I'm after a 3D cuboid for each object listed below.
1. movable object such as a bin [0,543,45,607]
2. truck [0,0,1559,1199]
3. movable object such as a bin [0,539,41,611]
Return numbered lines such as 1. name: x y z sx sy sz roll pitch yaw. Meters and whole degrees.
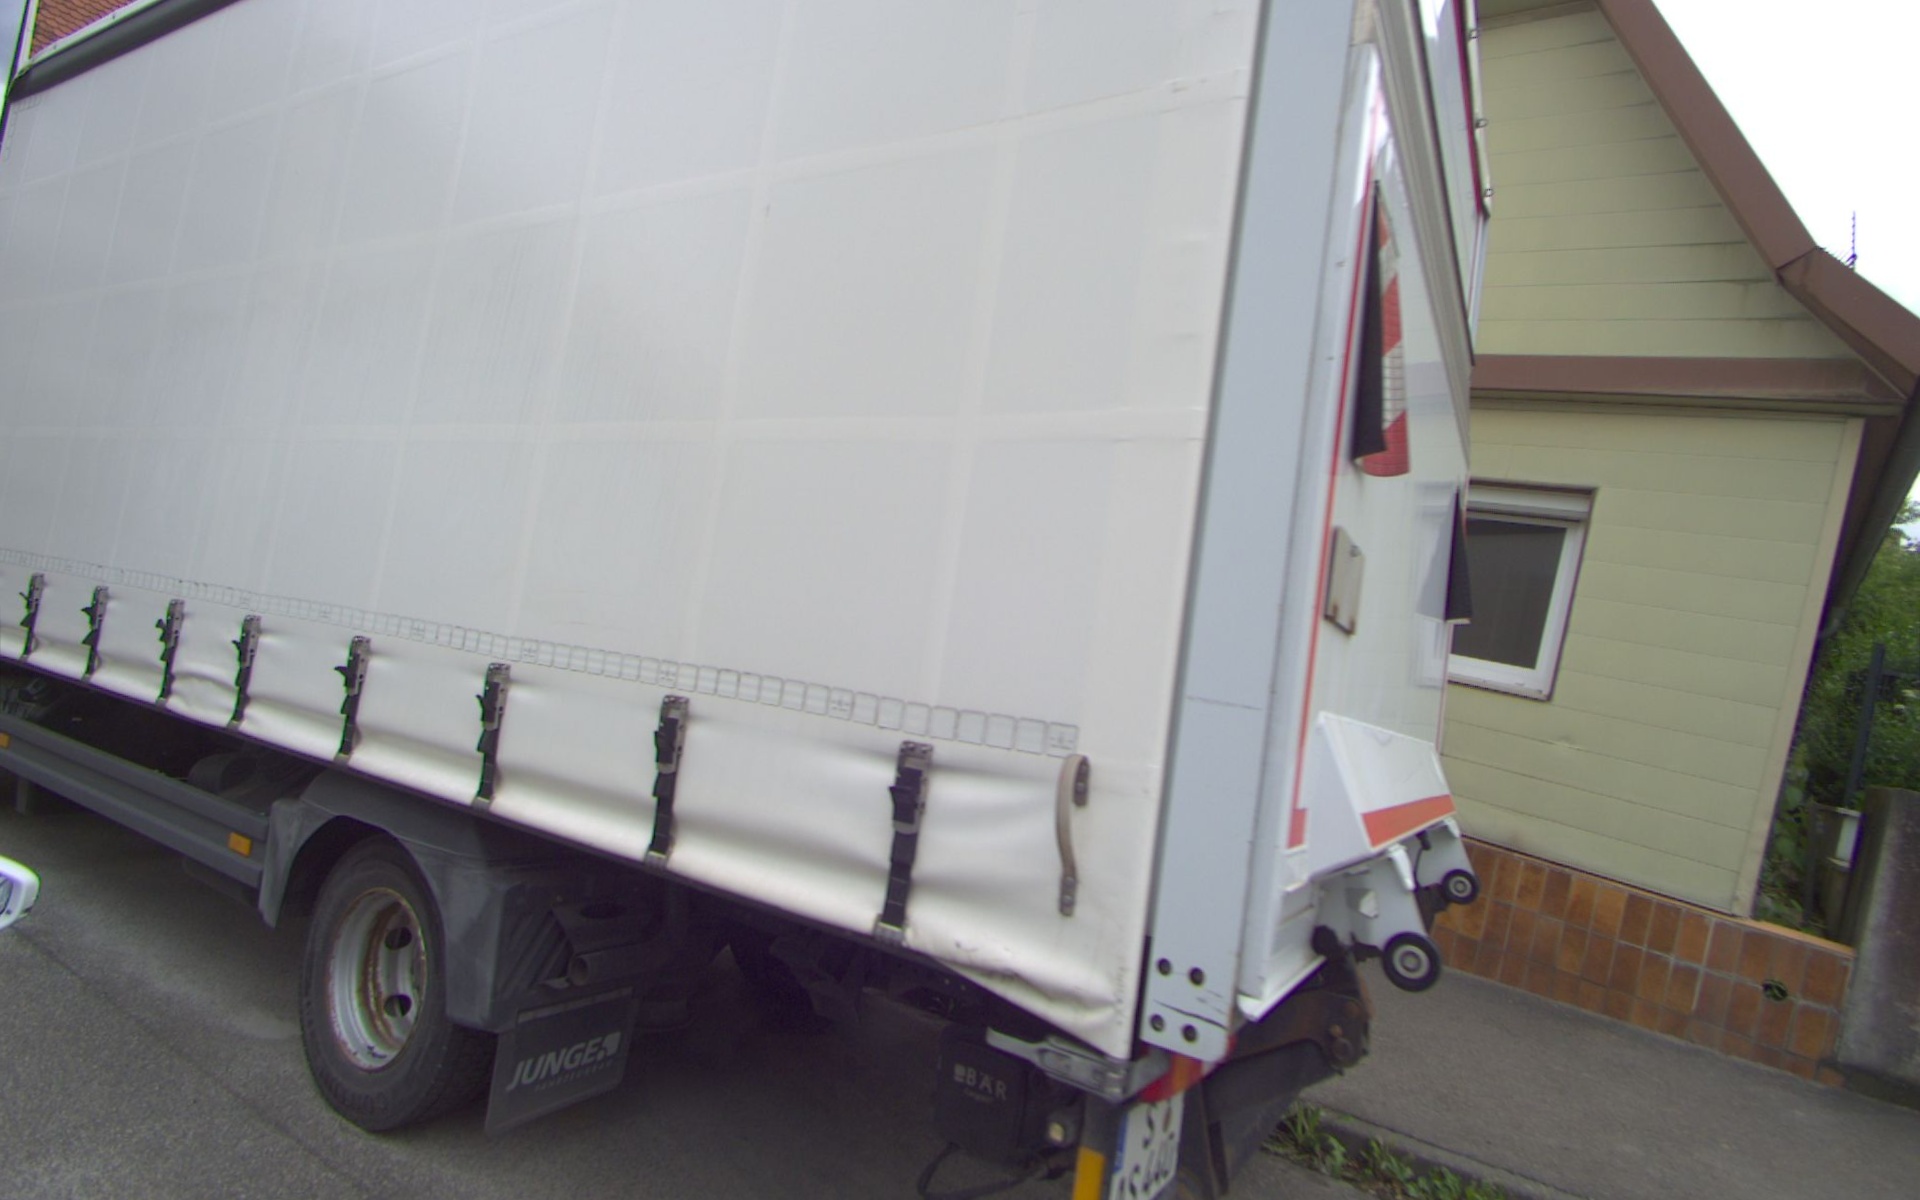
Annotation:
1. movable object such as a bin: -14.141 -0.373 15.013 0.445 0.875 0.434 10 -1 -8
2. truck: -2.134 -0.453 4.544 7.970 3.635 2.684 7 -3 31
3. movable object such as a bin: -12.947 -0.350 13.695 0.533 0.928 0.464 7 1 33
